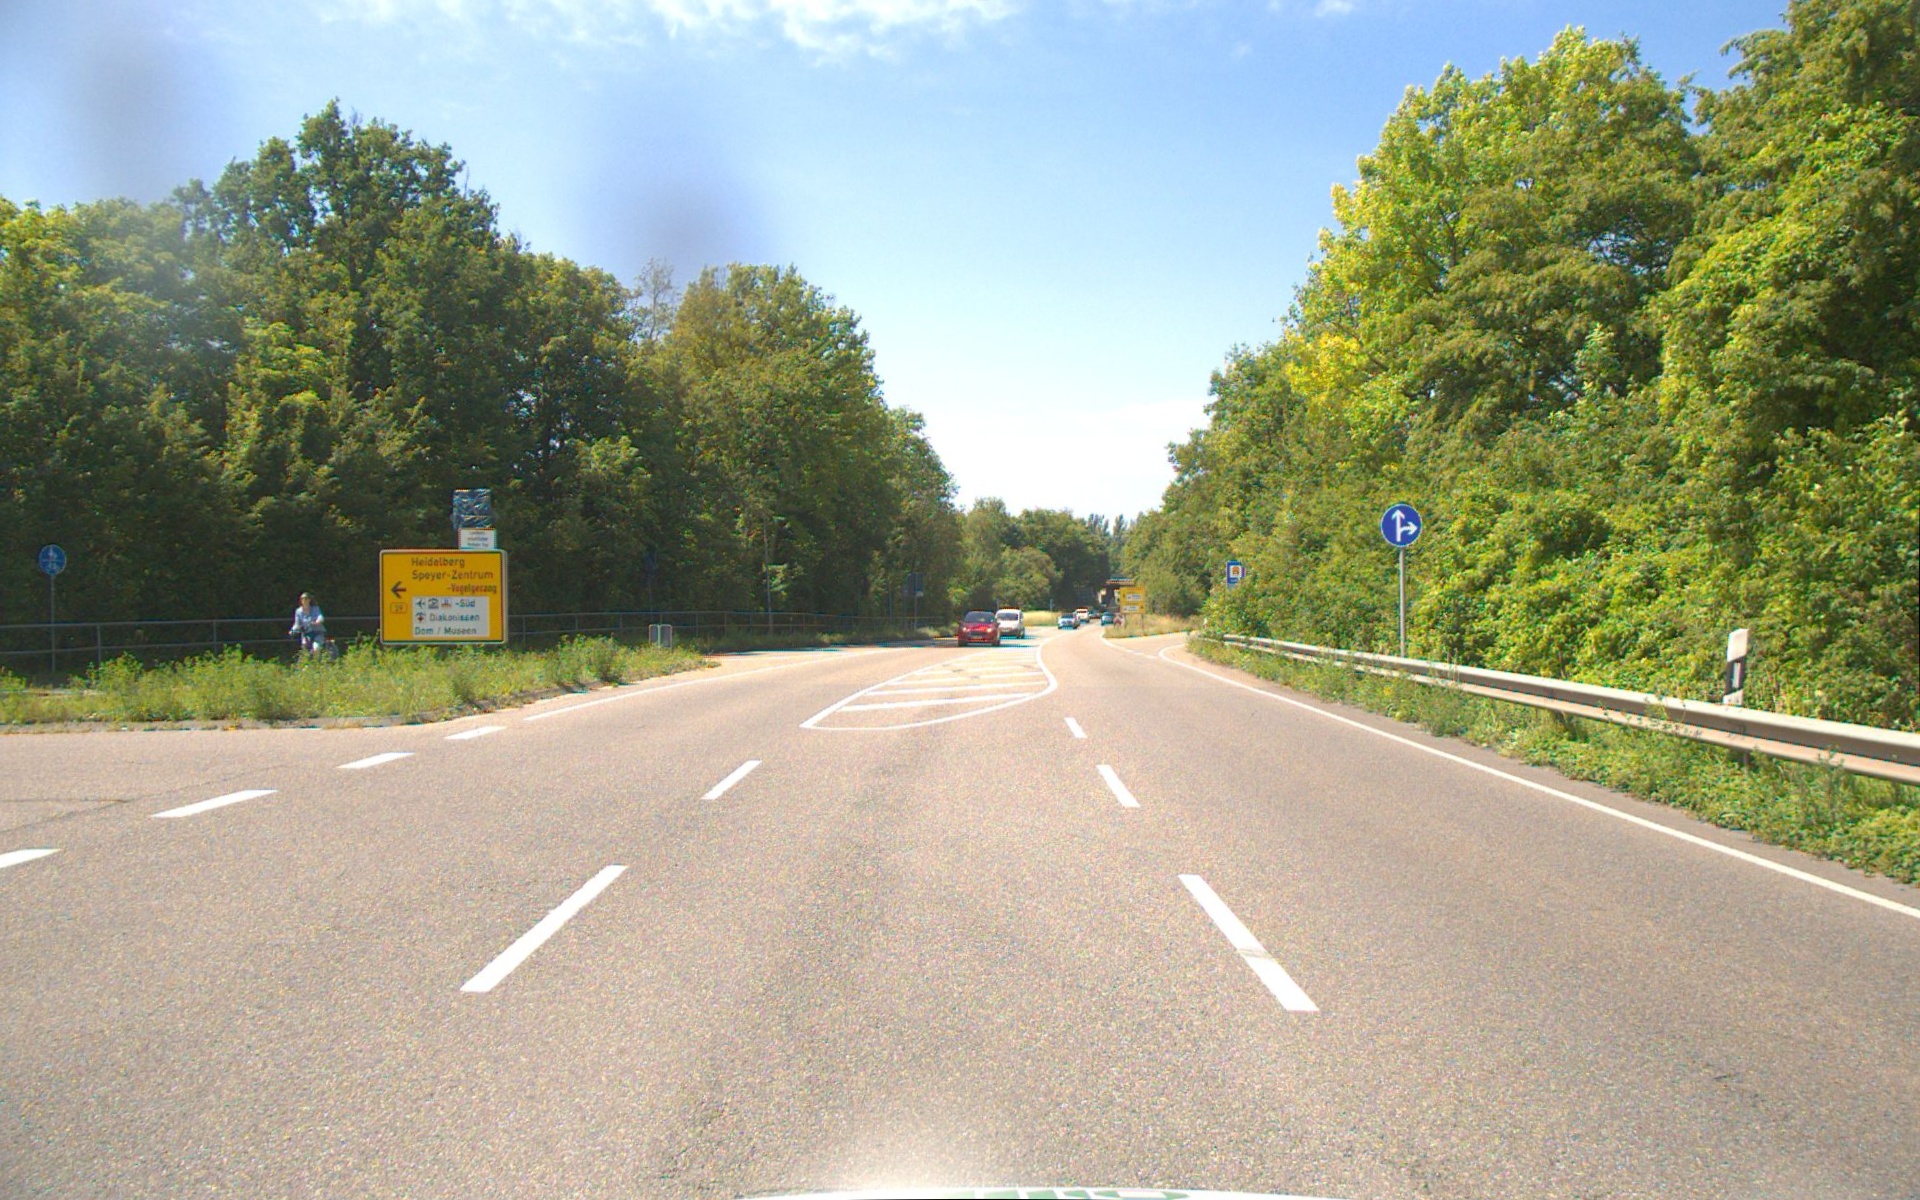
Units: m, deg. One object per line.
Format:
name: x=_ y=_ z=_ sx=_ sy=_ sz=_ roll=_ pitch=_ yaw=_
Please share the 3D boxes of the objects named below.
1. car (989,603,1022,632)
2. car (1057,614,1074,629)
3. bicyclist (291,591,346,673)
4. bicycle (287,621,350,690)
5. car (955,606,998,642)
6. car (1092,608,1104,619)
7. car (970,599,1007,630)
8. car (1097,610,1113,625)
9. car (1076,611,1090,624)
car: x=2.889 y=1.083 z=103.833 sx=1.952 sy=1.760 sz=4.276 roll=0 pitch=0 yaw=3
car: x=10.922 y=2.213 z=171.483 sx=1.642 sy=1.554 sz=4.002 roll=0 pitch=0 yaw=4
bicyclist: x=-10.924 y=0.540 z=28.168 sx=0.673 sy=1.387 sz=0.609 roll=0 pitch=-1 yaw=3
bicycle: x=-10.921 y=0.933 z=28.196 sx=0.426 sy=1.133 sz=1.482 roll=0 pitch=-1 yaw=3
car: x=0.698 y=1.010 z=71.481 sx=1.773 sy=1.483 sz=3.757 roll=1 pitch=0 yaw=-1
car: x=21.051 y=2.076 z=252.026 sx=1.683 sy=1.535 sz=3.712 roll=0 pitch=0 yaw=7
car: x=3.065 y=1.530 z=178.388 sx=1.971 sy=3.282 sz=4.763 roll=0 pitch=0 yaw=-29
car: x=17.225 y=2.089 z=196.735 sx=1.804 sy=1.714 sz=4.003 roll=0 pitch=1 yaw=7
car: x=15.799 y=2.229 z=211.973 sx=1.683 sy=1.555 sz=3.712 roll=0 pitch=0 yaw=6
